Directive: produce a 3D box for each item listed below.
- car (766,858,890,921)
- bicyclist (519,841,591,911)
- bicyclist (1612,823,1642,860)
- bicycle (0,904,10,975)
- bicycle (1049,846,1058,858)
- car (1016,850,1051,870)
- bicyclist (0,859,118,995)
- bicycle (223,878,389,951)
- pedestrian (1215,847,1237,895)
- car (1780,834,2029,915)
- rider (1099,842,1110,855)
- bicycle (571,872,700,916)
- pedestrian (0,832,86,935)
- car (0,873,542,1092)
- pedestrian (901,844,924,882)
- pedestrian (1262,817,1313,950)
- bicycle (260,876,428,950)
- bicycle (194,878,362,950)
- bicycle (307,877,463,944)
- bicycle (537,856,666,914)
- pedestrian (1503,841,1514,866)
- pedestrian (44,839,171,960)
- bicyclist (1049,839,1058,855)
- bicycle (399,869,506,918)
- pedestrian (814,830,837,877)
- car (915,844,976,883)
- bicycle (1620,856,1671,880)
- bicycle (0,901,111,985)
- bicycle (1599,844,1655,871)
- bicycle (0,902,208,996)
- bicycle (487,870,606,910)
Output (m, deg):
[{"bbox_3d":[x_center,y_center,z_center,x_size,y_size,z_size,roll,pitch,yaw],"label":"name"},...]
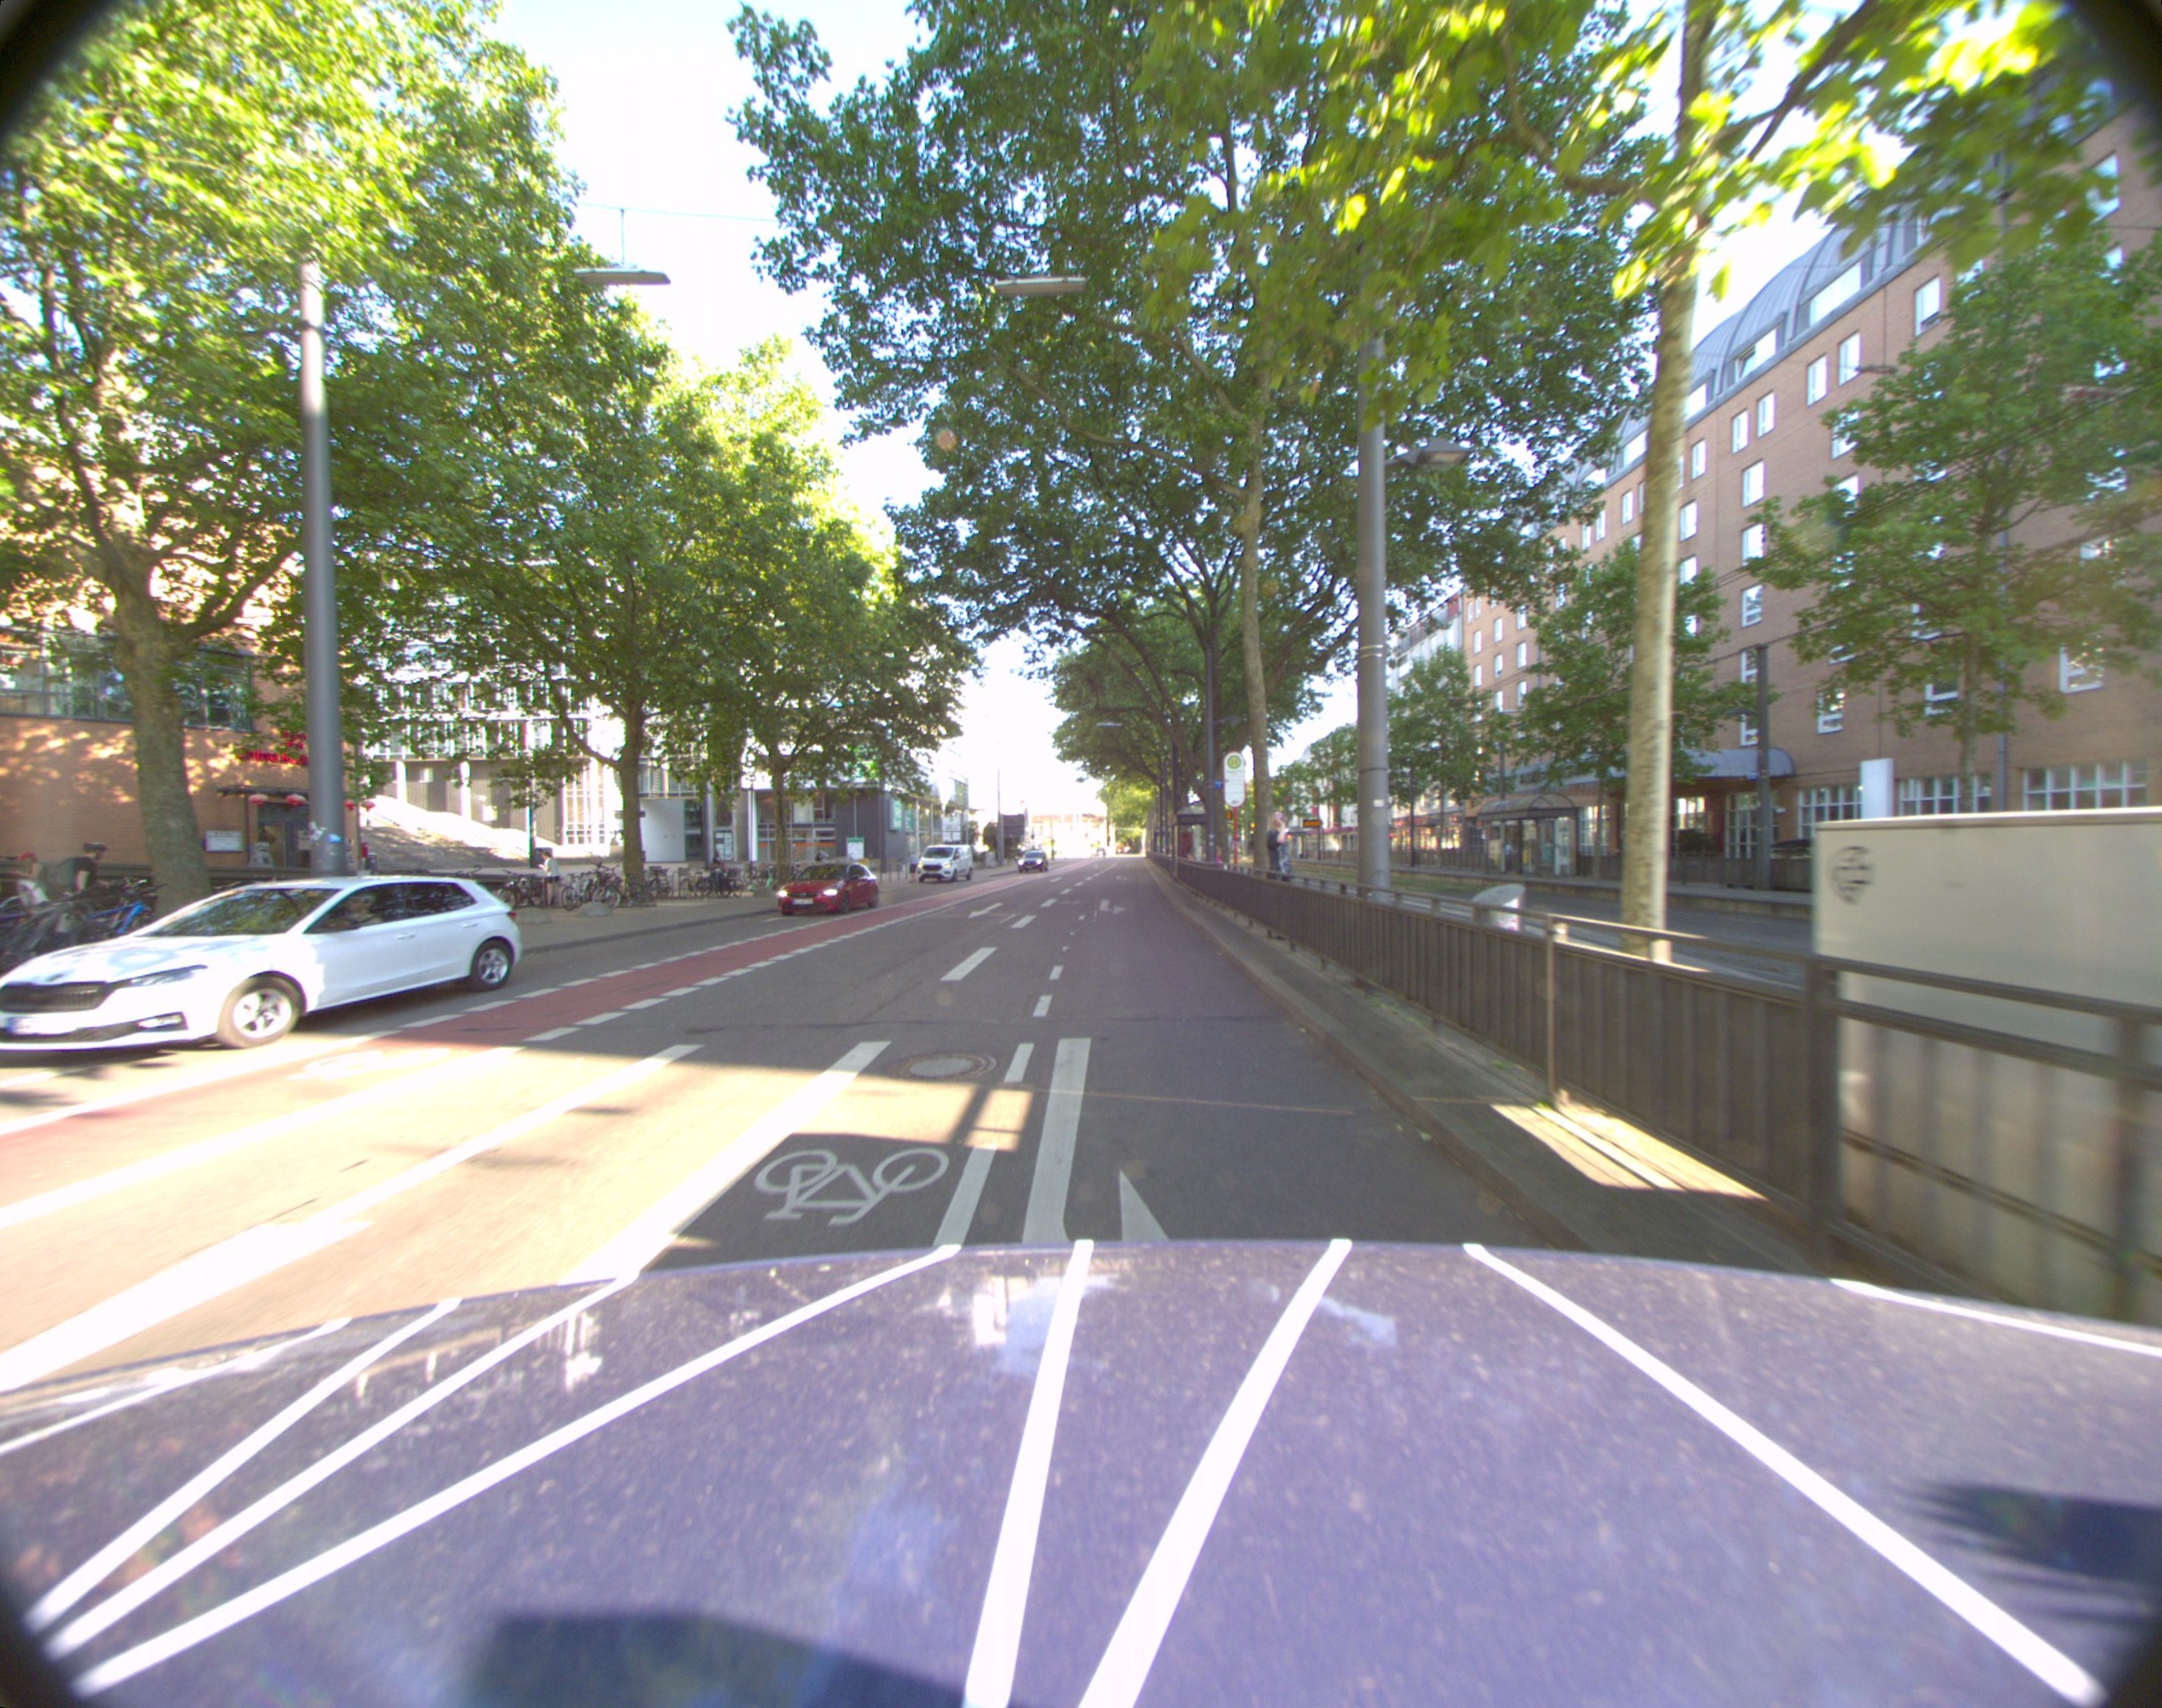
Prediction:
[{"bbox_3d":[-7.094,0.923,21.771,1.835,1.481,4.196,-3,1,4],"label":"car"},{"bbox_3d":[-15.785,0.641,22.831,1.296,2.002,1.158,-1,2,18],"label":"bicyclist"},{"bbox_3d":[23.529,-0.520,32.736,0.684,1.551,0.758,-1,-1,-7],"label":"bicyclist"},{"bbox_3d":[-15.715,1.218,9.057,1.050,0.996,3.411,3,1,1],"label":"bicycle"},{"bbox_3d":[-3.550,-0.264,99.501,0.950,1.461,2.706,0,1,3],"label":"bicycle"},{"bbox_3d":[-3.694,0.415,59.867,1.783,1.481,4.198,0,1,10],"label":"car"},{"bbox_3d":[-13.373,0.898,9.636,0.903,1.611,1.023,-2,2,1],"label":"bicyclist"},{"bbox_3d":[-14.755,1.107,14.592,0.671,1.155,2.305,-2,1,3],"label":"bicycle"},{"bbox_3d":[4.095,0.487,21.435,0.542,1.310,0.524,-2,2,12],"label":"pedestrian"},{"bbox_3d":[20.329,0.424,19.056,1.872,1.752,3.999,-2,1,-1],"label":"car"},{"bbox_3d":[3.860,-0.857,123.127,1.241,2.002,1.230,-1,2,33],"label":"rider"},{"bbox_3d":[-12.758,1.118,21.938,0.975,1.020,3.208,-2,1,23],"label":"bicycle"},{"bbox_3d":[-23.081,0.637,16.872,0.842,2.220,0.904,-1,2,23],"label":"pedestrian"},{"bbox_3d":[-8.062,1.045,7.882,1.835,1.481,4.195,-2,1,1],"label":"car"},{"bbox_3d":[-8.944,0.474,40.309,0.814,2.002,0.979,-2,0,10],"label":"pedestrian"},{"bbox_3d":[2.917,0.404,10.759,0.543,1.824,0.524,-2,2,3],"label":"pedestrian"},{"bbox_3d":[-13.996,1.071,14.559,0.751,1.155,2.397,-2,1,2],"label":"bicycle"},{"bbox_3d":[-15.440,1.112,14.732,0.657,1.155,2.292,-2,1,3],"label":"bicycle"},{"bbox_3d":[-13.066,1.020,14.395,0.682,1.054,2.337,-1,1,2],"label":"bicycle"},{"bbox_3d":[-13.891,0.849,22.193,0.892,1.476,3.228,-1,1,22],"label":"bicycle"},{"bbox_3d":[29.731,-0.024,52.856,0.504,1.725,0.574,-1,1,3],"label":"pedestrian"},{"bbox_3d":[-17.019,0.749,13.328,0.934,2.002,1.091,-1,1,-25],"label":"pedestrian"},{"bbox_3d":[-3.598,-0.908,99.392,0.959,2.002,0.938,-2,2,2],"label":"bicyclist"},{"bbox_3d":[-17.756,1.083,21.586,0.699,1.193,2.700,-2,1,1],"label":"bicycle"},{"bbox_3d":[-14.673,-0.020,43.601,0.981,2.633,0.900,-3,2,-31],"label":"pedestrian"},{"bbox_3d":[-7.324,0.439,41.795,1.933,1.953,5.919,-2,1,3],"label":"car"},{"bbox_3d":[24.375,0.584,32.828,0.655,0.993,1.900,-1,1,-6],"label":"bicycle"},{"bbox_3d":[-14.595,1.236,9.274,1.050,0.996,3.411,-2,1,1],"label":"bicycle"},{"bbox_3d":[23.528,0.181,32.793,0.687,1.135,2.110,-1,-1,-6],"label":"bicycle"},{"bbox_3d":[-13.346,1.224,9.852,0.925,0.943,2.637,-2,1,1],"label":"bicycle"},{"bbox_3d":[-16.153,1.062,22.965,3.327,1.078,1.149,0,2,18],"label":"bicycle"}]
